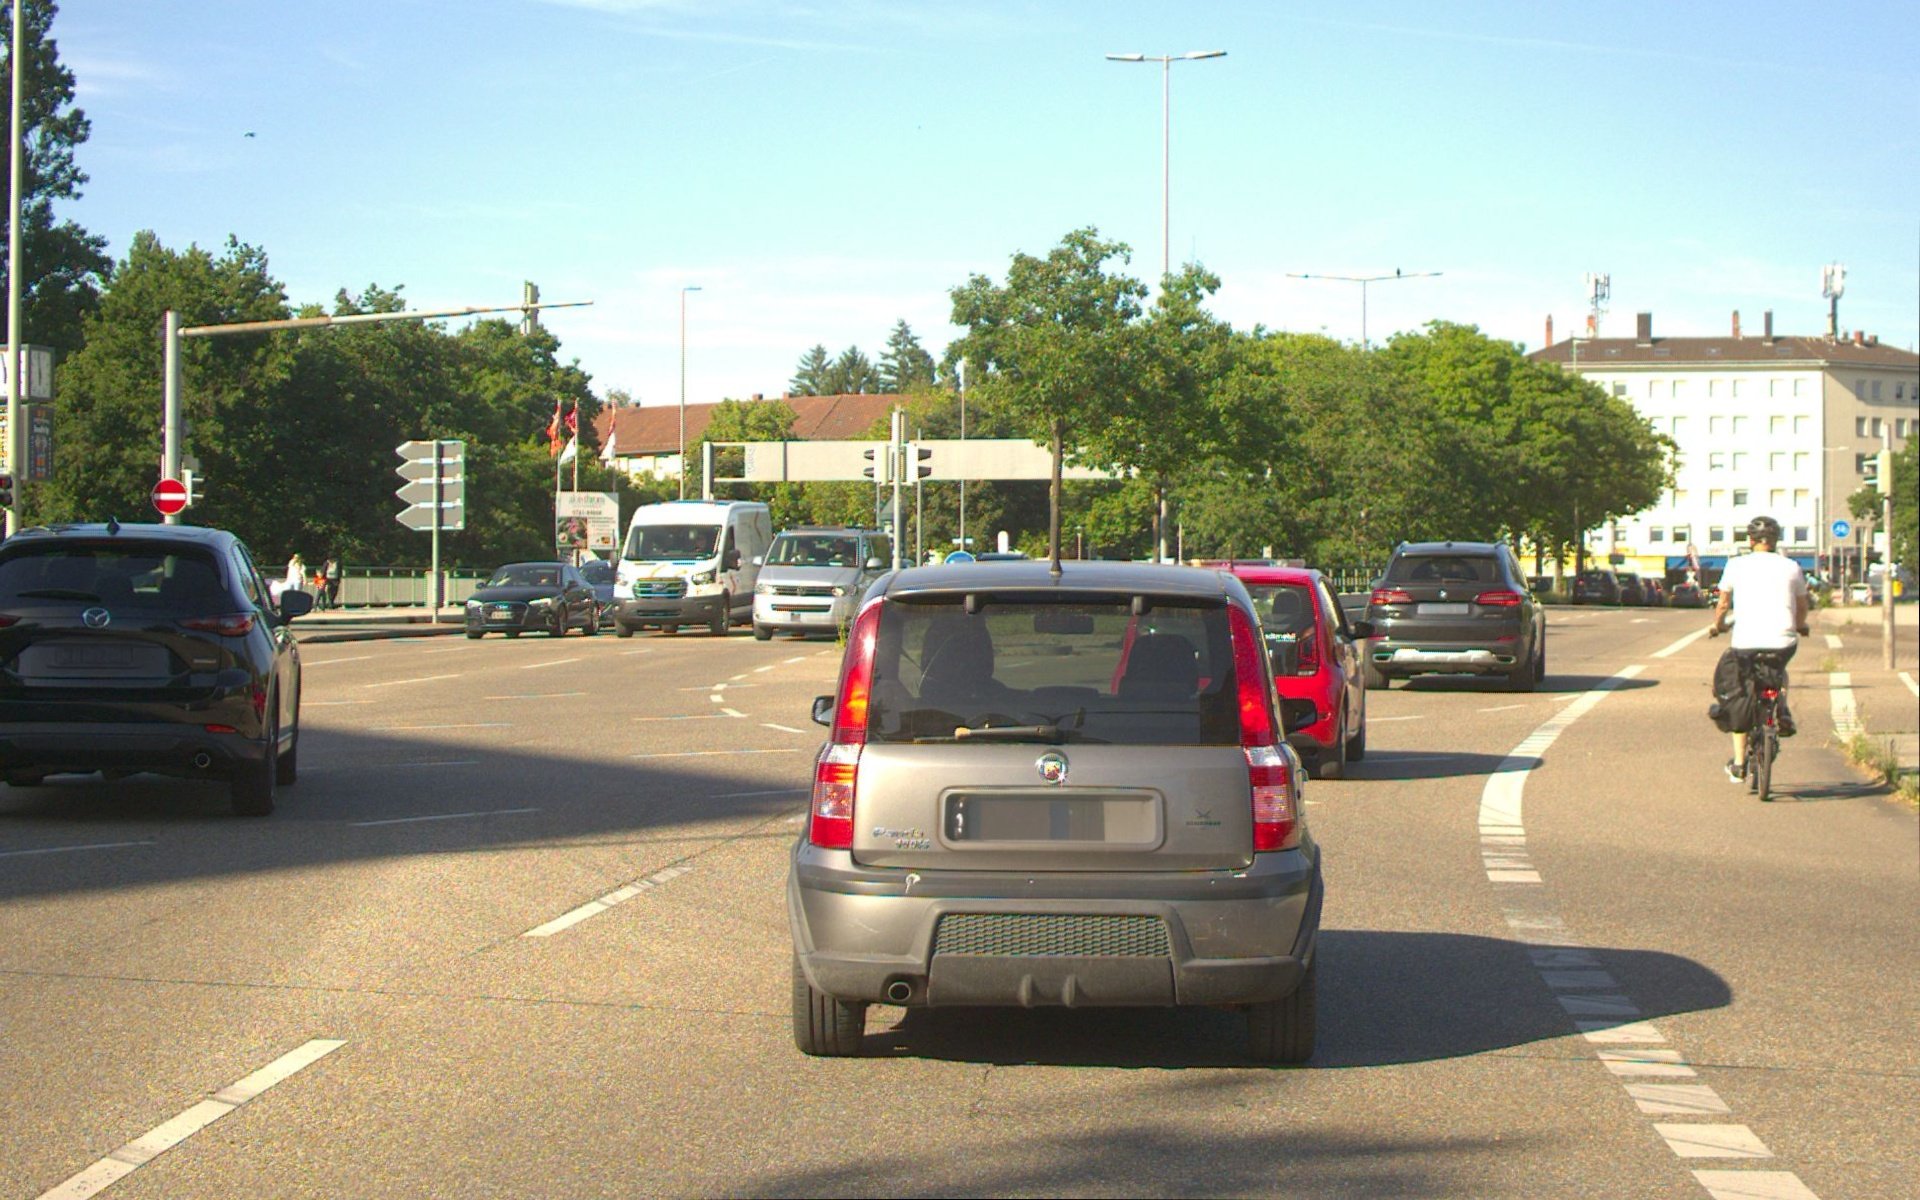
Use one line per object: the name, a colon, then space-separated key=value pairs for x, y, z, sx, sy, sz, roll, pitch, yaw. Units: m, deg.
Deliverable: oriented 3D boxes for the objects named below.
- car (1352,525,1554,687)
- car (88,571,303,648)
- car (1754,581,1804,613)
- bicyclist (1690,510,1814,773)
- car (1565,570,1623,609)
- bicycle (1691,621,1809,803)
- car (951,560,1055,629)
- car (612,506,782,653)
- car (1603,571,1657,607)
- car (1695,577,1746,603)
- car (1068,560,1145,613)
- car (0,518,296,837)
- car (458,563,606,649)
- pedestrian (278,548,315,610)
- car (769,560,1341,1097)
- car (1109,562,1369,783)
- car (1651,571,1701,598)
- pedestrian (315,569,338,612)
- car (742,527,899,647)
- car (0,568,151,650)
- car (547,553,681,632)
car: x=5.948 y=0.082 z=41.136 sx=1.946 sy=1.834 sz=4.150 roll=0 pitch=0 yaw=14
car: x=-16.148 y=0.174 z=72.768 sx=1.783 sy=1.530 sz=4.320 roll=2 pitch=2 yaw=36
car: x=46.669 y=-0.164 z=195.872 sx=1.868 sy=1.675 sz=3.902 roll=1 pitch=-1 yaw=28
bicyclist: x=5.175 y=0.259 z=22.472 sx=0.724 sy=1.654 sz=1.112 roll=2 pitch=1 yaw=13
car: x=24.961 y=-0.423 z=135.245 sx=1.946 sy=1.523 sz=4.094 roll=1 pitch=1 yaw=15
bicycle: x=5.162 y=0.707 z=22.464 sx=0.691 sy=1.098 sz=1.825 roll=2 pitch=1 yaw=13
car: x=1.077 y=-0.162 z=84.054 sx=1.937 sy=1.617 sz=4.504 roll=0 pitch=1 yaw=9
car: x=-4.779 y=-0.404 z=63.410 sx=1.937 sy=2.567 sz=6.087 roll=0 pitch=1 yaw=7
car: x=29.201 y=-0.492 z=149.781 sx=1.947 sy=1.523 sz=4.094 roll=1 pitch=1 yaw=16
car: x=46.597 y=-0.631 z=210.556 sx=1.948 sy=1.523 sz=4.090 roll=1 pitch=1 yaw=29
car: x=4.646 y=-0.436 z=108.723 sx=1.937 sy=1.617 sz=4.504 roll=0 pitch=1 yaw=9
car: x=-4.962 y=0.394 z=20.454 sx=1.873 sy=1.703 sz=4.198 roll=0 pitch=0 yaw=-9
car: x=-7.919 y=0.095 z=63.967 sx=1.937 sy=1.502 sz=3.999 roll=-1 pitch=1 yaw=5
pedestrian: x=-17.767 y=-0.555 z=92.090 sx=0.720 sy=1.636 sz=0.672 roll=2 pitch=-1 yaw=12
car: x=0.367 y=0.628 z=11.733 sx=1.617 sy=1.510 sz=3.819 roll=1 pitch=1 yaw=3
car: x=2.099 y=0.467 z=25.046 sx=1.618 sy=1.458 sz=3.749 roll=1 pitch=1 yaw=9
car: x=41.298 y=-0.926 z=198.236 sx=1.948 sy=1.523 sz=4.092 roll=1 pitch=1 yaw=24
pedestrian: x=-16.910 y=-0.261 z=91.777 sx=0.423 sy=1.132 sz=0.397 roll=2 pitch=-1 yaw=12
car: x=-2.392 y=-0.251 z=60.161 sx=1.937 sy=2.001 sz=4.930 roll=0 pitch=1 yaw=7
car: x=-19.742 y=0.201 z=74.347 sx=1.899 sy=1.620 sz=3.990 roll=1 pitch=-2 yaw=39
car: x=-7.090 y=-0.174 z=70.940 sx=1.811 sy=1.536 sz=4.616 roll=-1 pitch=1 yaw=6
